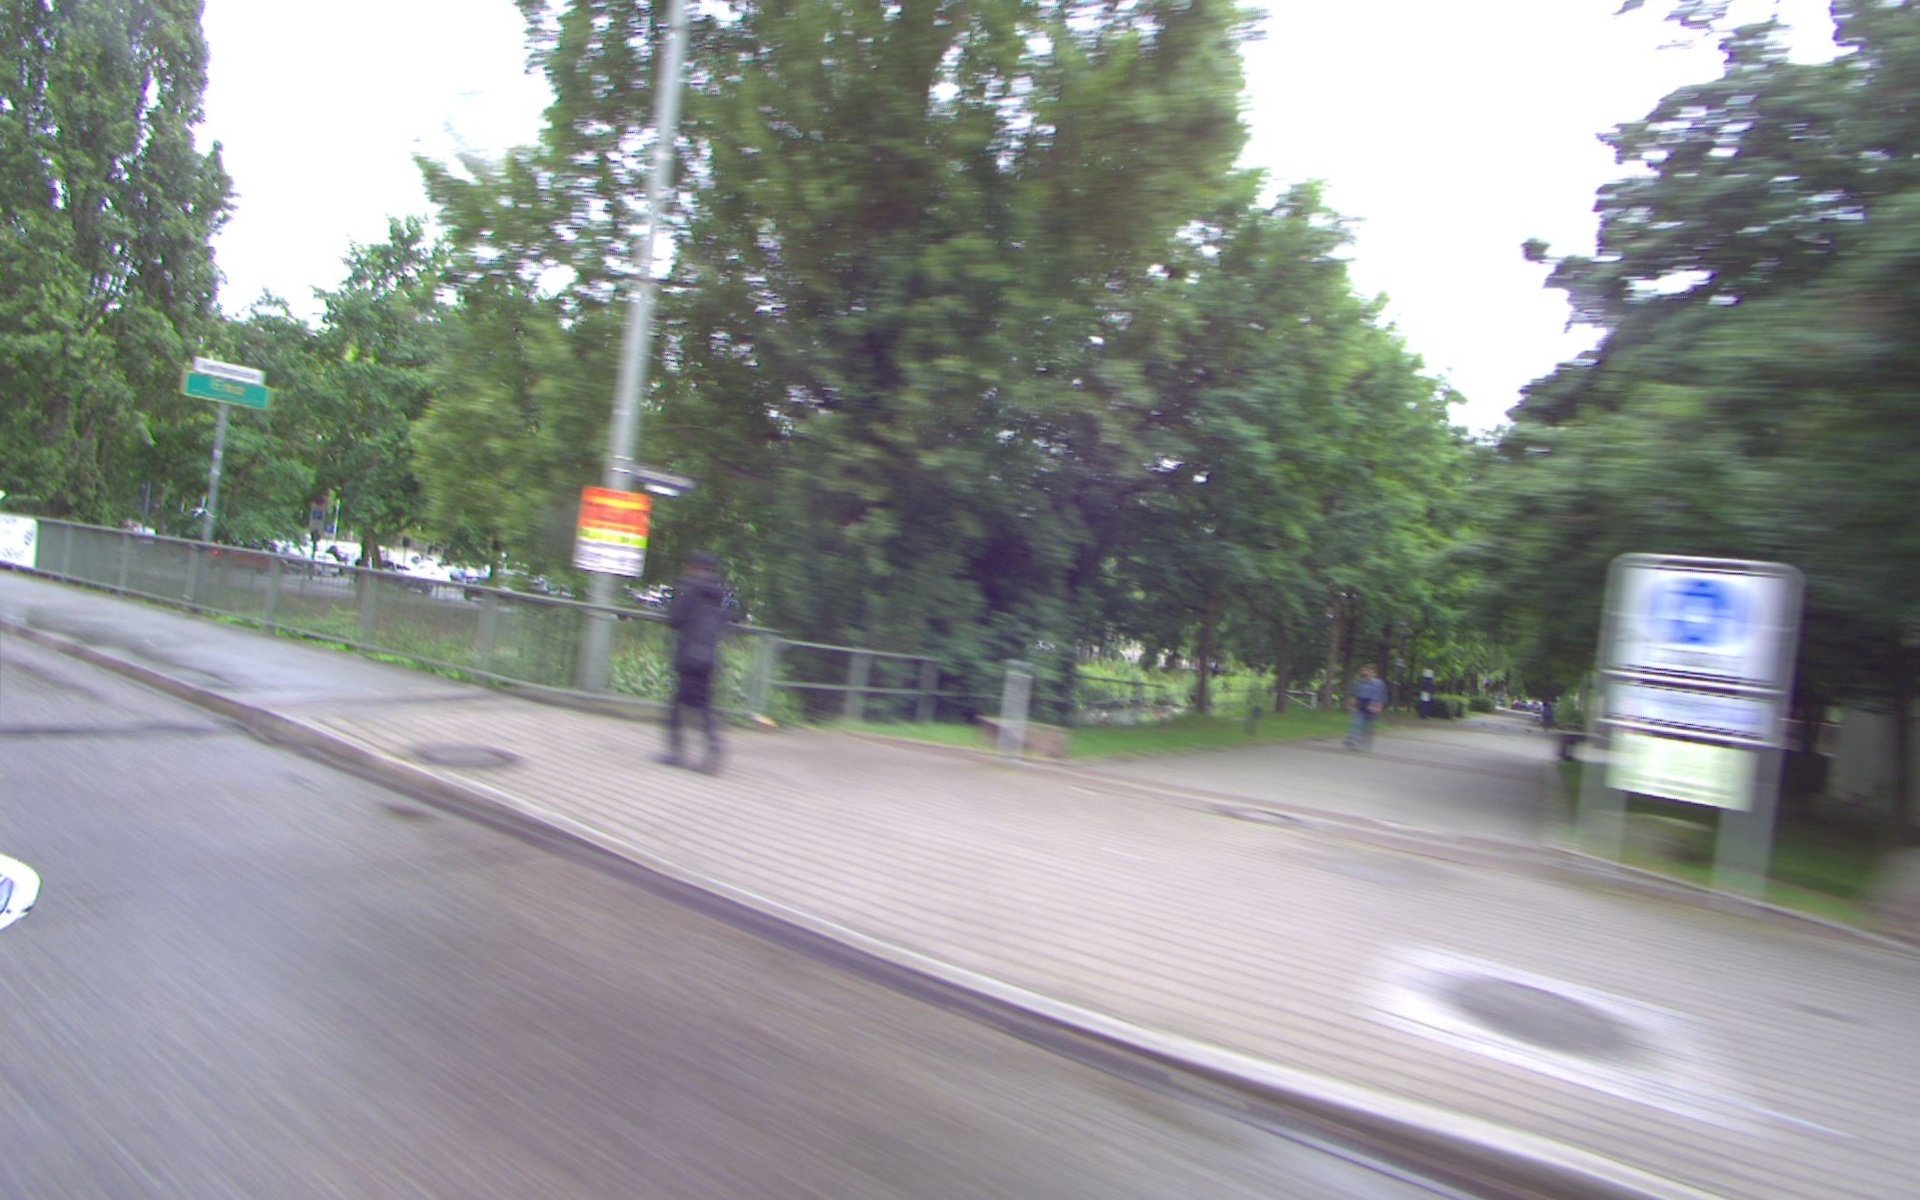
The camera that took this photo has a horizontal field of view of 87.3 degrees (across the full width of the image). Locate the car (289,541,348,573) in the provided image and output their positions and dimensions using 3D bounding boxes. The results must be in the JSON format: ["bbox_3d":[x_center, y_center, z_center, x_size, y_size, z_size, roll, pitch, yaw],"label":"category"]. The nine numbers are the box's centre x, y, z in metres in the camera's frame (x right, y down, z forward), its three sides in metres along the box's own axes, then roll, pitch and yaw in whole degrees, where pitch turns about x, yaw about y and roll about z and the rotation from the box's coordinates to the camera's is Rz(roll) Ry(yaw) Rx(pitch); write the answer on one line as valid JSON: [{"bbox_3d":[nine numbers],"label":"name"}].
[{"bbox_3d":[-42.843,-2.882,67.146,3.937,1.670,1.821,6,-2,35],"label":"car"}]

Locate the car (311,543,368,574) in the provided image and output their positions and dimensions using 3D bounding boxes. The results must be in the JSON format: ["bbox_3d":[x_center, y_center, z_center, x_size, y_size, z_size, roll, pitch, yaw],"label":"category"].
[{"bbox_3d":[-43.626,-2.932,70.715,3.937,1.670,1.821,6,-2,35],"label":"car"}]

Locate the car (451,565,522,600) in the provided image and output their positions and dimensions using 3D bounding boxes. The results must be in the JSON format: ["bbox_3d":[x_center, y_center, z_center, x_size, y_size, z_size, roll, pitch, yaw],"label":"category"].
[{"bbox_3d":[-28.503,-1.056,60.521,3.947,1.608,1.804,6,-1,29],"label":"car"}]

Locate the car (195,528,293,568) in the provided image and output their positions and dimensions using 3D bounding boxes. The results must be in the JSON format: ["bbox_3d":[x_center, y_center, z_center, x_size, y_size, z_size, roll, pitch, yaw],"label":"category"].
[{"bbox_3d":[-40.993,-2.960,57.684,1.775,1.640,4.131,7,-1,28],"label":"car"}]

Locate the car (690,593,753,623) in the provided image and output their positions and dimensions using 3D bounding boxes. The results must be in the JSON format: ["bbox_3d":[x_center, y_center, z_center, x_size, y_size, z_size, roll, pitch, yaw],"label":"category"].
[{"bbox_3d":[-18.465,0.613,77.878,4.519,1.777,1.934,6,-2,31],"label":"car"}]

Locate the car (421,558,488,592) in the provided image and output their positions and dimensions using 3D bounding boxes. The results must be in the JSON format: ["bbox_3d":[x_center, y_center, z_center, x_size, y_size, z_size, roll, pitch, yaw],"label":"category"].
[{"bbox_3d":[-35.347,-1.736,70.303,4.519,1.777,1.934,6,-2,31],"label":"car"}]

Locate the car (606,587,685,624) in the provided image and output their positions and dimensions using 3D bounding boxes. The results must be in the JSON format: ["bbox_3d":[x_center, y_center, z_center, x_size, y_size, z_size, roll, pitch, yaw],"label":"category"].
[{"bbox_3d":[-18.371,0.337,58.899,1.862,1.564,3.991,6,-3,36],"label":"car"}]

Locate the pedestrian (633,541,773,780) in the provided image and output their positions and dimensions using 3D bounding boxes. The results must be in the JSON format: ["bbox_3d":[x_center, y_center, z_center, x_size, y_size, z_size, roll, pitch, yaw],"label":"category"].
[{"bbox_3d":[-1.953,0.451,7.668,0.553,1.685,0.640,9,2,31],"label":"pedestrian"}]

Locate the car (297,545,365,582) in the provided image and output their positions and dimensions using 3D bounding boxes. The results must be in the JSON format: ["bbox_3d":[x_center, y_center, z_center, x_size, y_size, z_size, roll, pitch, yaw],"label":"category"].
[{"bbox_3d":[-39.247,-2.292,62.735,3.879,1.785,1.804,6,-1,29],"label":"car"}]

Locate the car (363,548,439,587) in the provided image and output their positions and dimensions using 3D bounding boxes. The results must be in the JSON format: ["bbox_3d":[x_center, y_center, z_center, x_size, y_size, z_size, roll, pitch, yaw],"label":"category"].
[{"bbox_3d":[-33.846,-1.995,60.922,4.508,1.785,1.804,6,-1,29],"label":"car"}]

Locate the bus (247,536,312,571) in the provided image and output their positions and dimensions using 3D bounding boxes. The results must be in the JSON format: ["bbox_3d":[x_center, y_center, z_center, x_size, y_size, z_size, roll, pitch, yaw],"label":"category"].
[{"bbox_3d":[-43.527,-2.985,64.315,3.937,1.743,1.996,6,-2,35],"label":"bus"}]

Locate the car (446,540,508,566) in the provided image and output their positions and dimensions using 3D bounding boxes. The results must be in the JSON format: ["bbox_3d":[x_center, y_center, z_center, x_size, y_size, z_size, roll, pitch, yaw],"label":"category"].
[{"bbox_3d":[-48.345,-4.674,100.724,5.290,1.777,1.918,9,-3,-36],"label":"car"}]

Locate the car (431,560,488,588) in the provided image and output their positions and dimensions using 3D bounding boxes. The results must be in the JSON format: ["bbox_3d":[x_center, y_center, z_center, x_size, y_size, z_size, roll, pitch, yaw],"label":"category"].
[{"bbox_3d":[-38.068,-1.978,76.506,4.132,1.568,1.809,6,-2,31],"label":"car"}]

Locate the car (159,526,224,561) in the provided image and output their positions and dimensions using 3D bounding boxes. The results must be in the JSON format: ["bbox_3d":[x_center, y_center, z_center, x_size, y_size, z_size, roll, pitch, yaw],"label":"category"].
[{"bbox_3d":[-46.182,-3.406,60.430,3.574,1.671,1.598,6,0,26],"label":"car"}]

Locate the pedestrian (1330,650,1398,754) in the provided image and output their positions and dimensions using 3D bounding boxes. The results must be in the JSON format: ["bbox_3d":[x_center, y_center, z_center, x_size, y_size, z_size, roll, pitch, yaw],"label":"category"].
[{"bbox_3d":[8.492,2.154,21.135,1.004,2.035,1.117,4,-4,32],"label":"pedestrian"}]

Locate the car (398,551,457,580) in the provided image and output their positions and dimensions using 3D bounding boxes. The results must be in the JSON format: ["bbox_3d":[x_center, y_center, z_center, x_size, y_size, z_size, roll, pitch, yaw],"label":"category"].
[{"bbox_3d":[-39.398,-2.555,74.413,4.132,1.568,1.809,6,-2,31],"label":"car"}]
